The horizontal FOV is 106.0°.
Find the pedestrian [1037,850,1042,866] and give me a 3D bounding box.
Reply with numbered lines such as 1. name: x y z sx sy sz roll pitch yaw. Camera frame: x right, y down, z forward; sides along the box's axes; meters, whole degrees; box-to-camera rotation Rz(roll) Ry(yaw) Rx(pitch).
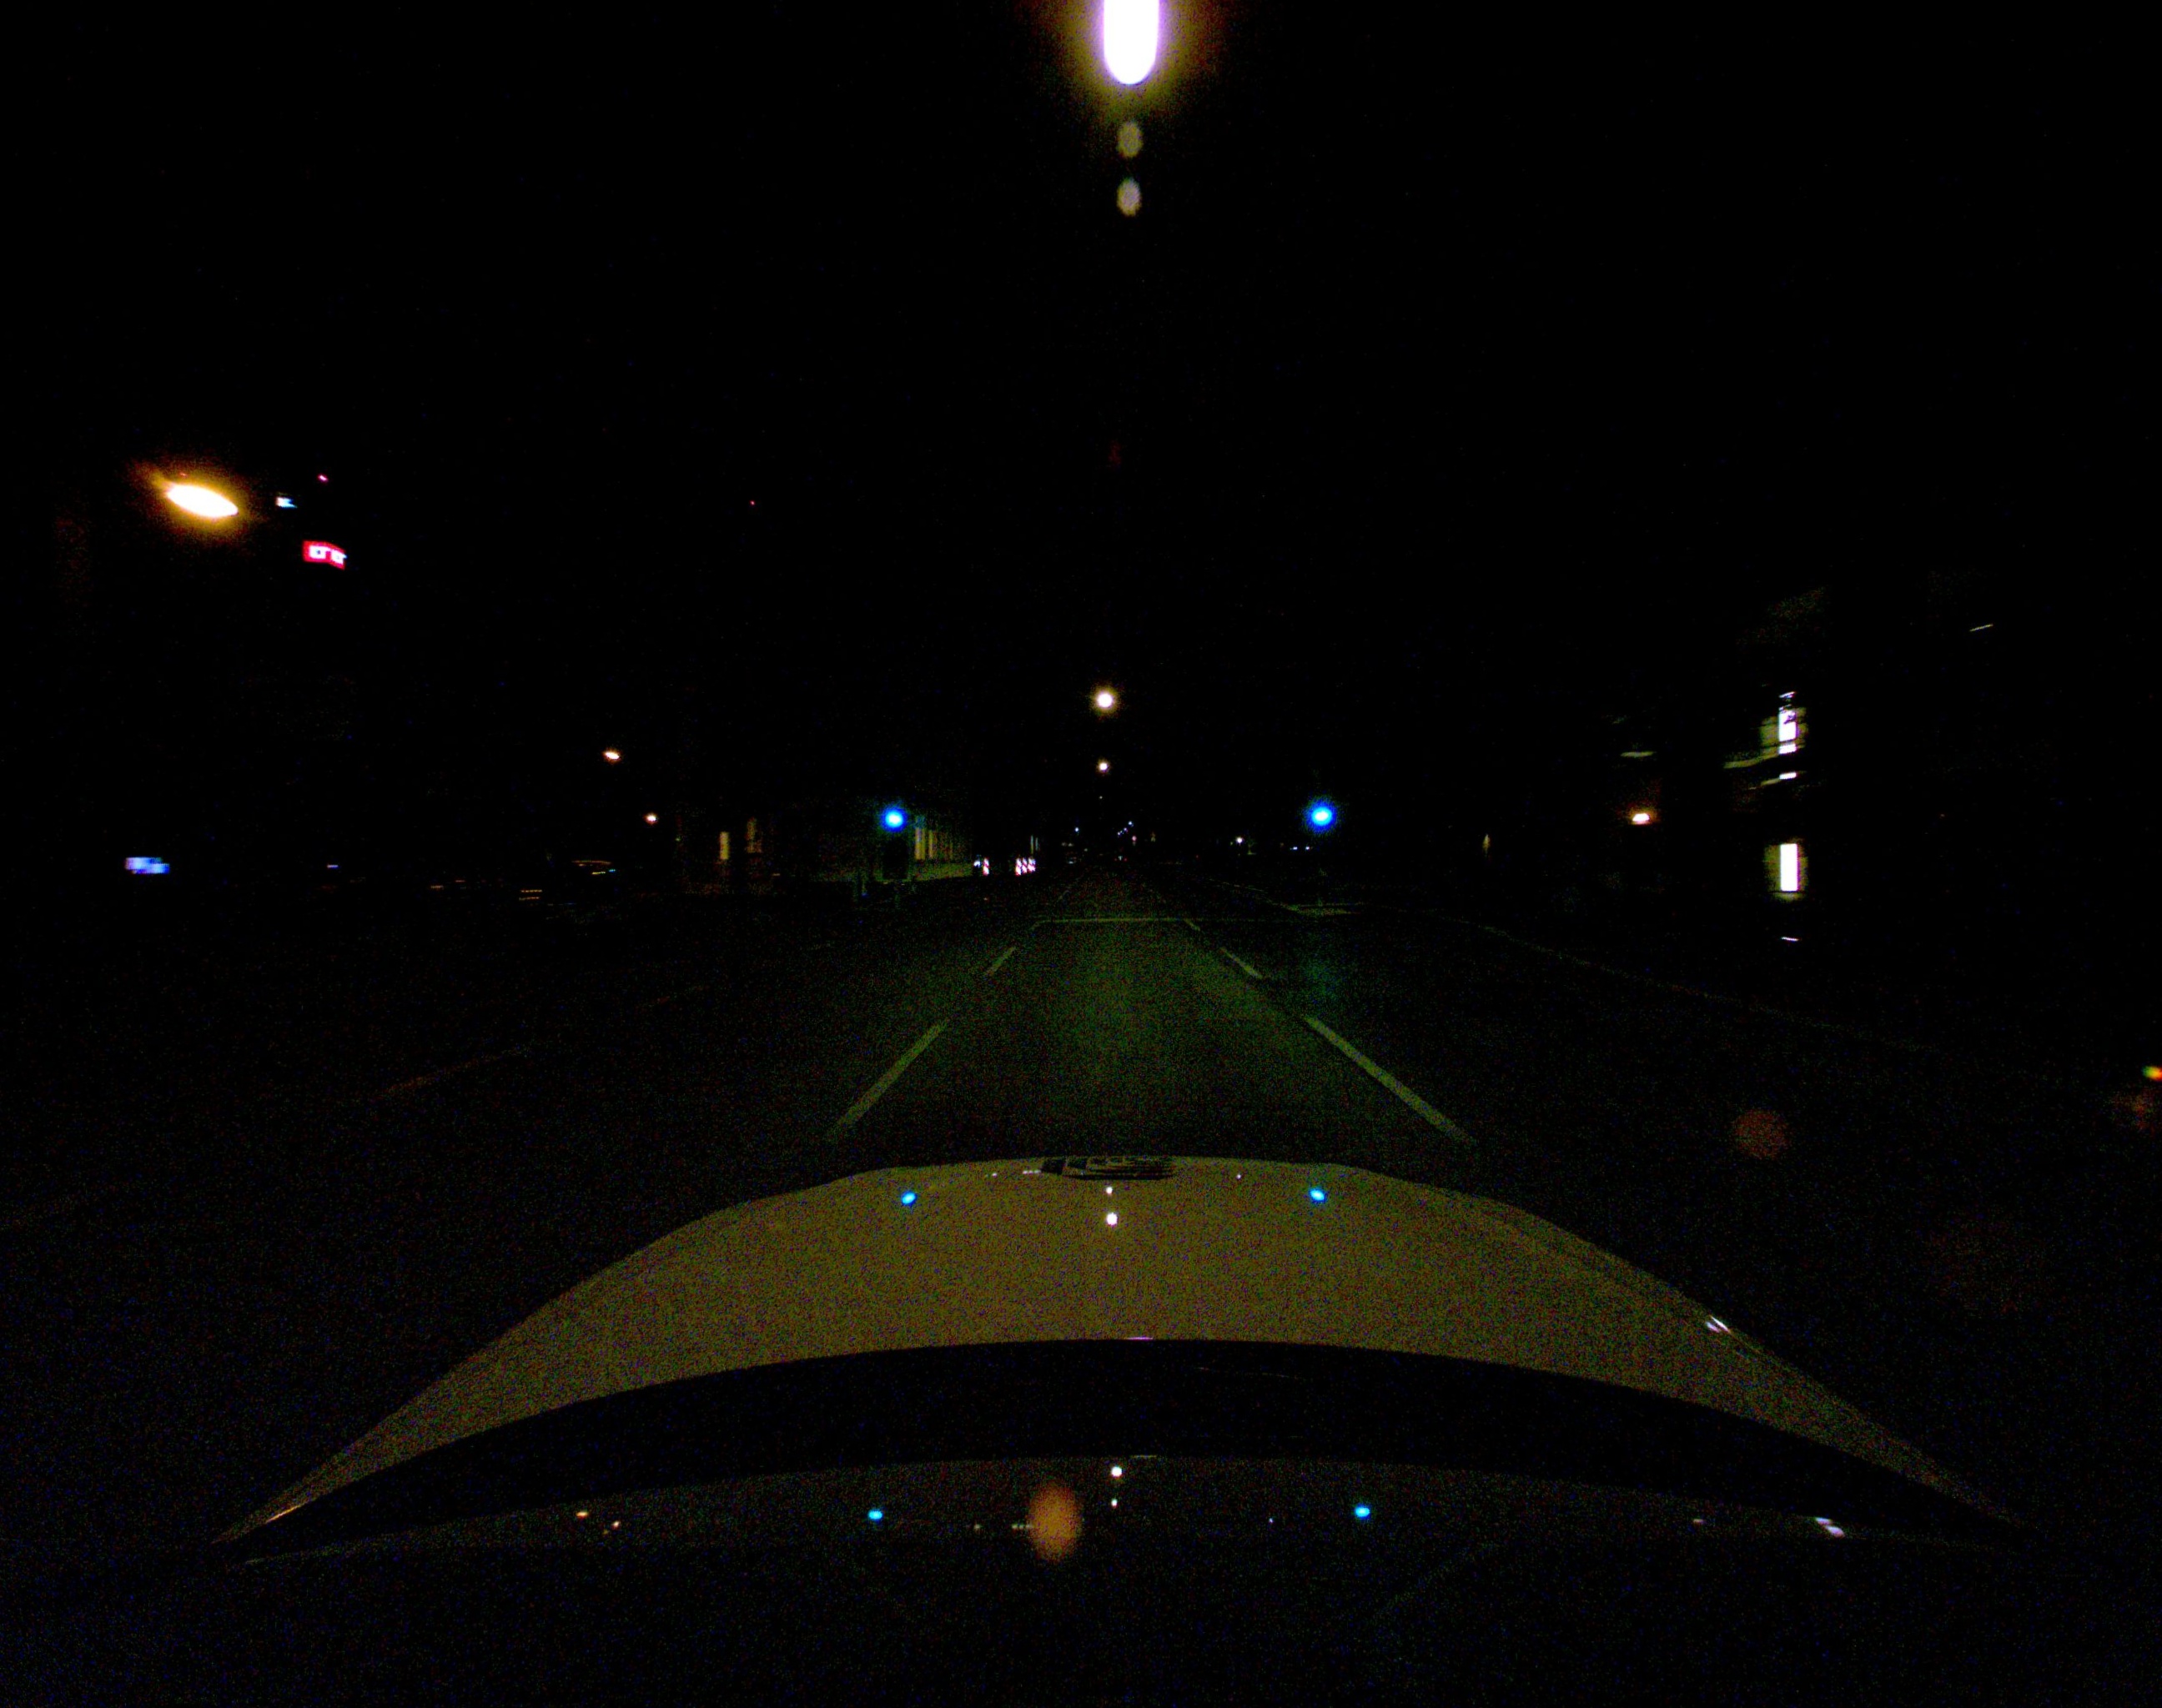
1. pedestrian: -4.470 0.410 87.509 0.415 1.708 0.440 -1 -1 -12

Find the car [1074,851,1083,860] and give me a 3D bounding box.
1. car: -0.431 0.218 144.321 1.699 1.510 4.100 0 -1 1

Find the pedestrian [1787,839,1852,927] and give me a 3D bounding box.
1. pedestrian: 13.208 0.506 14.582 0.570 1.533 0.634 -1 0 1

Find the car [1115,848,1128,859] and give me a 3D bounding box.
1. car: 6.008 -0.098 121.208 1.876 1.603 4.111 -3 0 3

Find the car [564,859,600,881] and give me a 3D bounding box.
1. car: -41.814 1.322 68.357 1.905 1.735 3.970 -1 -1 -22

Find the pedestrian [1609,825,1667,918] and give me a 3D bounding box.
1. pedestrian: 11.231 0.343 16.440 0.619 1.811 0.759 -1 0 1

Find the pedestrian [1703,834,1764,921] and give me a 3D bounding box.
1. pedestrian: 12.678 0.450 15.832 0.619 1.639 0.679 -1 0 1

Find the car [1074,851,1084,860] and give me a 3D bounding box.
1. car: -0.345 0.236 150.105 1.671 1.566 4.106 -1 -1 1

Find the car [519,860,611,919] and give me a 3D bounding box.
1. car: -15.668 1.019 24.936 1.924 1.644 4.075 2 -1 -27

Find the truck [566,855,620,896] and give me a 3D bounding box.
1. truck: -23.325 1.005 39.066 1.900 1.807 4.077 -1 -1 -27

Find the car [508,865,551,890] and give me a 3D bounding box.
1. car: -35.326 1.475 52.233 1.724 1.496 3.554 -1 0 -25

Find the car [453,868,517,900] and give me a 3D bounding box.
1. car: -31.085 1.533 42.617 1.890 1.449 3.968 -1 0 -24

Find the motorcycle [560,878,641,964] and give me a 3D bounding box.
1. motorcycle: -7.510 0.999 12.814 0.573 1.179 2.021 -1 0 -16

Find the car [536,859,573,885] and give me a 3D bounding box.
1. car: -39.902 1.321 61.810 1.804 1.809 3.967 -1 0 -25

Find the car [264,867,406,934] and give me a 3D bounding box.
1. car: -20.891 1.229 23.028 1.847 1.613 4.222 -3 0 -27

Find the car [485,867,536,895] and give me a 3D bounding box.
1. car: -33.137 1.535 47.404 1.775 1.460 3.967 -1 0 -25

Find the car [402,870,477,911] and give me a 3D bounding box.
1. car: -26.269 1.452 33.466 1.609 1.489 3.527 -2 1 -25

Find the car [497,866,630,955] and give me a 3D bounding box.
1. car: -10.029 0.981 16.048 1.898 1.424 4.684 -2 0 -30

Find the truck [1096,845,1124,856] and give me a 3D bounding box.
1. truck: 7.071 -0.866 198.942 6.758 2.844 1.999 0 0 -2

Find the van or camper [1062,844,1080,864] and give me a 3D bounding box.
1. van or camper: -1.336 0.030 110.892 2.150 2.535 6.227 -3 0 1
